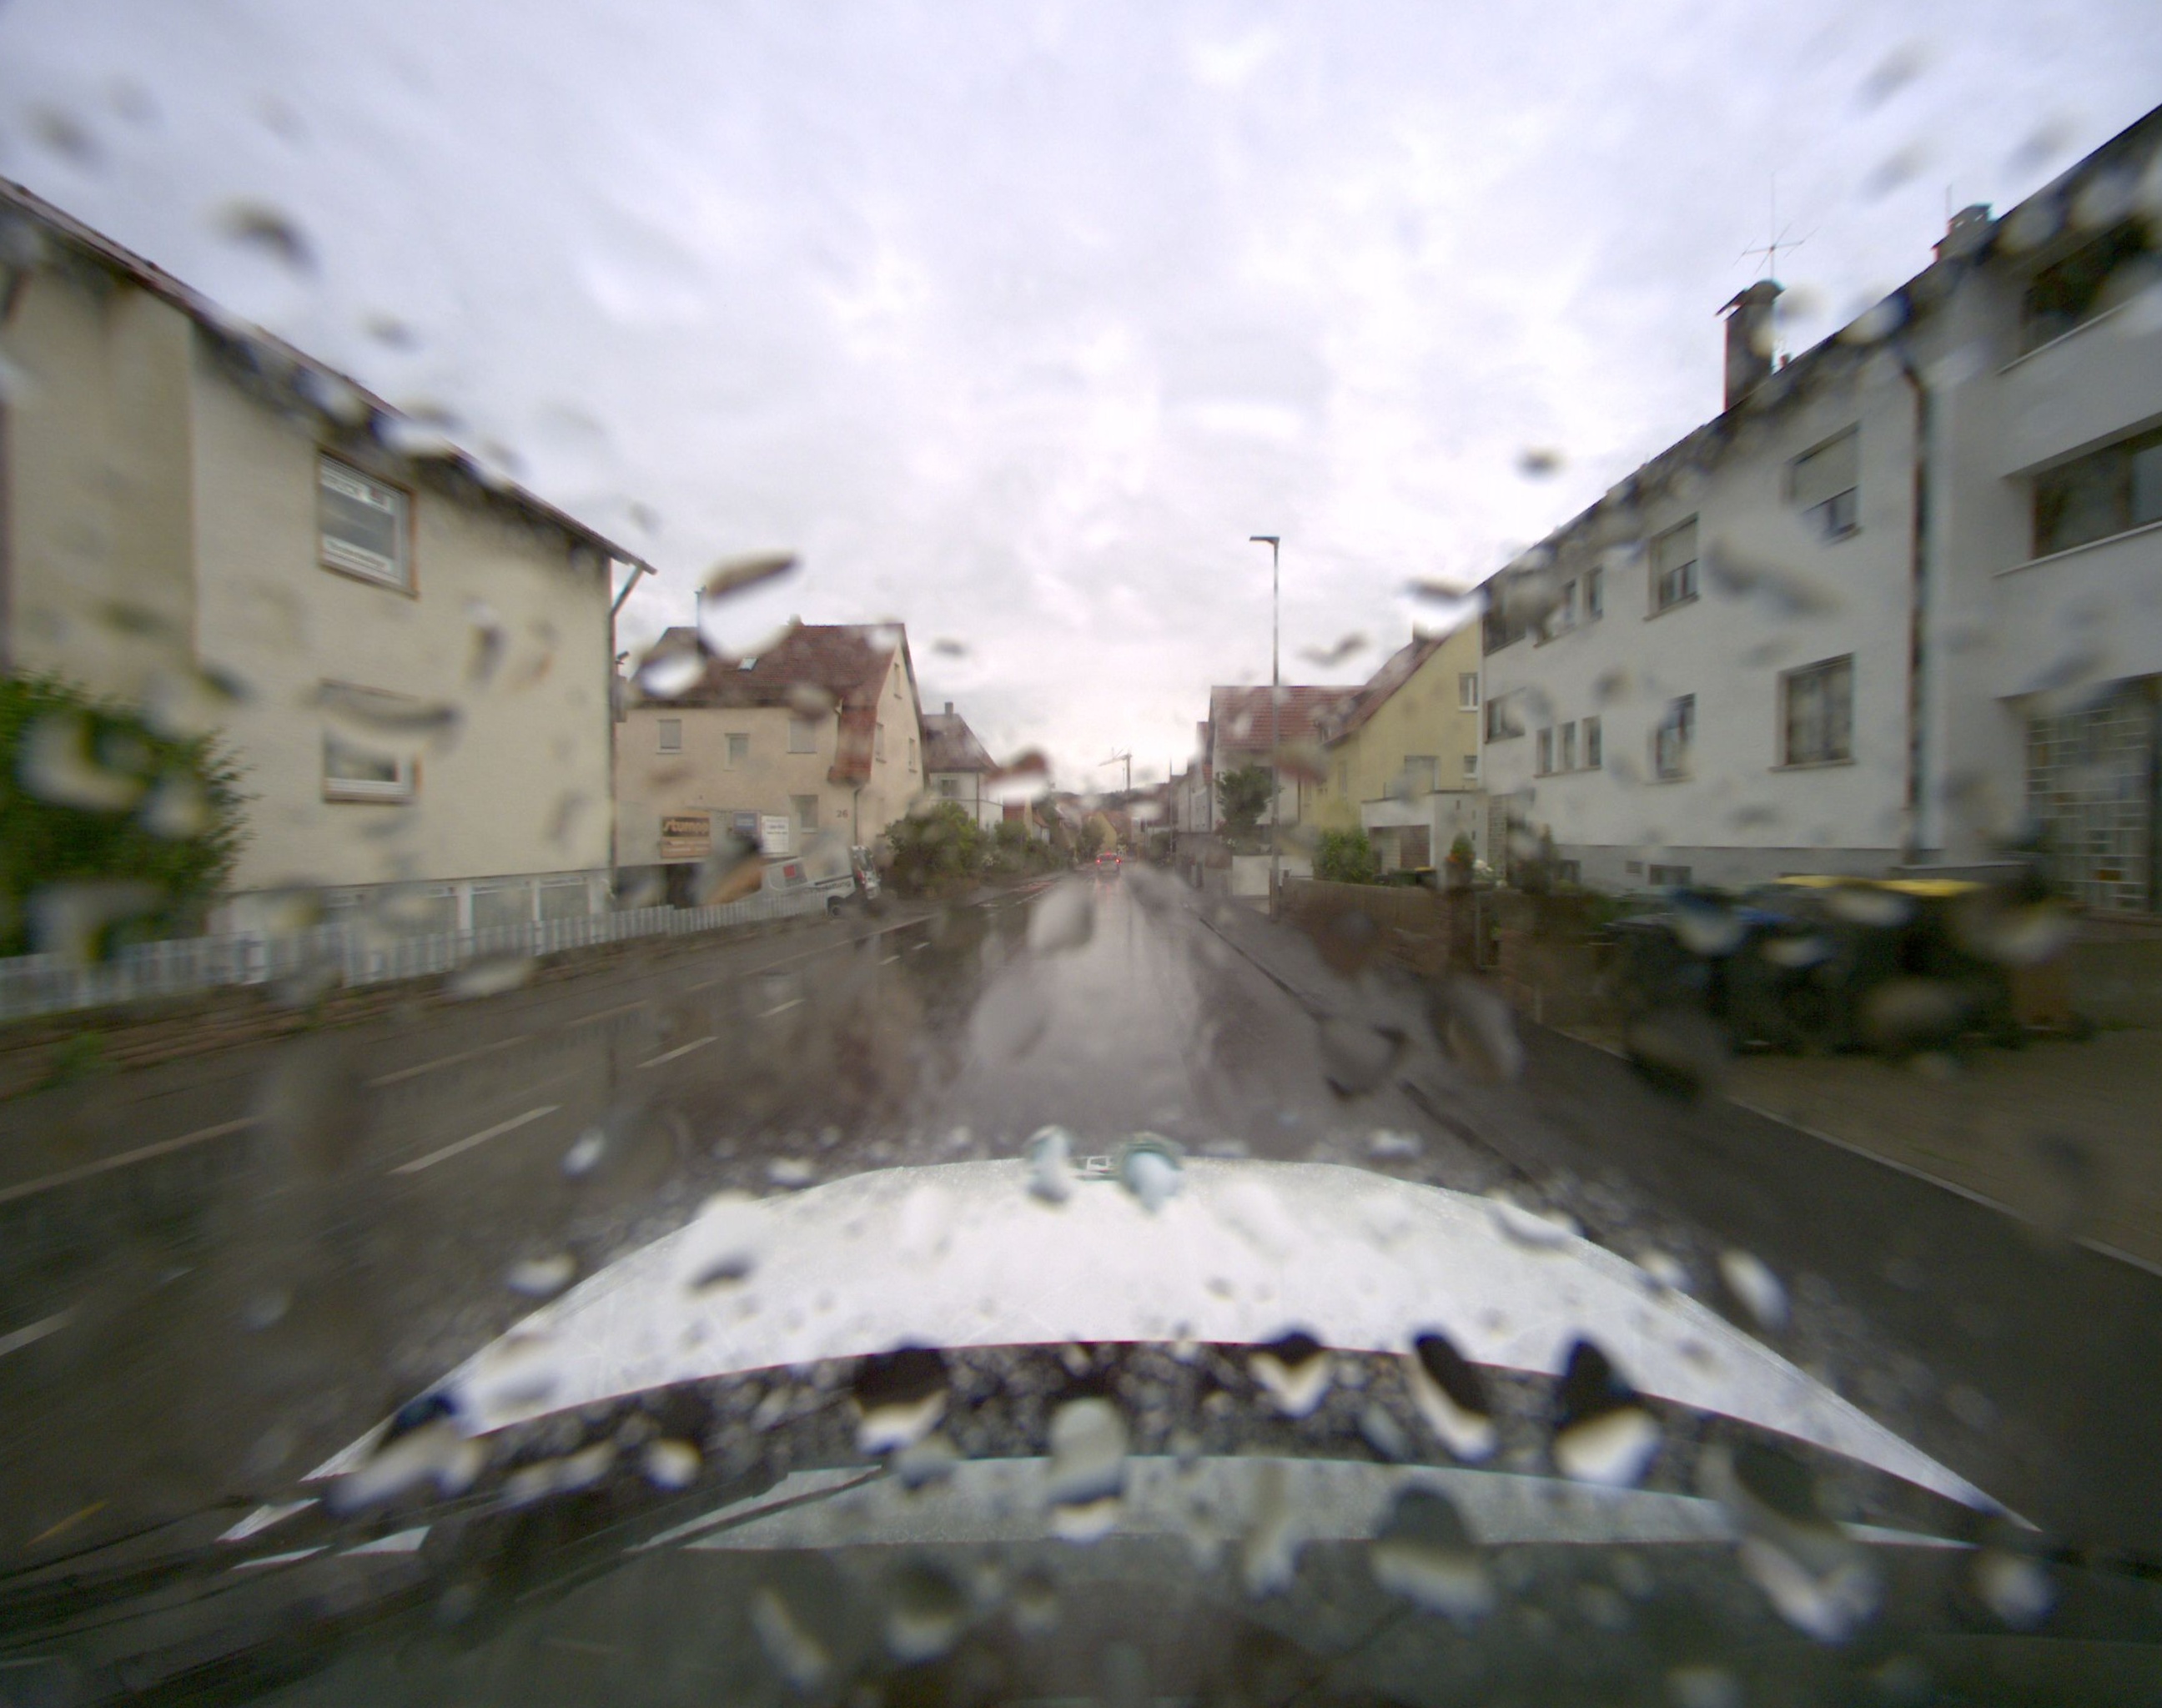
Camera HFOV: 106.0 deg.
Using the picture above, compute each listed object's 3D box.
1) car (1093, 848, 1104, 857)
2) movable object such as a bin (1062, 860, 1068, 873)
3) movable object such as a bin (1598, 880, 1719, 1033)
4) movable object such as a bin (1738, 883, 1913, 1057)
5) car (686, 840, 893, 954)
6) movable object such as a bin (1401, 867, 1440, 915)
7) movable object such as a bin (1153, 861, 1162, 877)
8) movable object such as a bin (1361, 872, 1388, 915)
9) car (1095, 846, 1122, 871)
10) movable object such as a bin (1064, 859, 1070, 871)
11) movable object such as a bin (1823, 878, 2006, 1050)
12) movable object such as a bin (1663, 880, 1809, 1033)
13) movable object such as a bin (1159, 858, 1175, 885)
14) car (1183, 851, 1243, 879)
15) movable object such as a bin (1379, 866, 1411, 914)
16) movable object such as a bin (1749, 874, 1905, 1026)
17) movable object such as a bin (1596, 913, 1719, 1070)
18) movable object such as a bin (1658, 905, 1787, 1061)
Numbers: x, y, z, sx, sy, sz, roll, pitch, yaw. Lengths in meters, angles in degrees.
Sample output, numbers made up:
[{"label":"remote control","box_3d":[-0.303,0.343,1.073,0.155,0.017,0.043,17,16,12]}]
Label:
[{"label":"car","box_3d":[3.582,-0.279,165.305,1.832,1.578,4.299,1,3,7]},{"label":"movable object such as a bin","box_3d":[-1.742,1.365,90.054,0.681,1.322,0.639,1,2,-3]},{"label":"movable object such as a bin","box_3d":[4.293,0.739,6.089,0.423,1.028,0.632,1,2,0]},{"label":"movable object such as a bin","box_3d":[4.898,0.739,5.398,0.542,1.028,0.632,1,2,0]},{"label":"car","box_3d":[-7.876,1.110,22.348,4.538,2.012,2.161,-12,2,1]},{"label":"movable object such as a bin","box_3d":[8.009,0.860,19.234,0.647,1.073,0.629,1,2,2]},{"label":"movable object such as a bin","box_3d":[6.416,1.272,68.317,0.781,1.277,0.715,1,2,6]},{"label":"movable object such as a bin","box_3d":[6.926,0.936,19.219,0.469,0.961,0.443,1,2,2]},{"label":"car","box_3d":[2.372,0.336,69.507,2.108,1.887,4.507,1,3,3]},{"label":"movable object such as a bin","box_3d":[-1.571,1.246,90.812,0.681,1.223,0.639,1,2,-3]},{"label":"movable object such as a bin","box_3d":[5.508,0.702,5.419,0.526,1.028,0.632,1,2,0]},{"label":"movable object such as a bin","box_3d":[4.862,0.738,6.080,0.542,1.028,0.632,1,2,0]},{"label":"movable object such as a bin","box_3d":[4.342,0.869,41.153,0.742,1.279,0.883,-1,2,3]},{"label":"car","box_3d":[7.922,0.641,48.954,3.361,1.562,1.516,1,3,1]},{"label":"movable object such as a bin","box_3d":[7.413,0.851,19.246,0.495,1.073,0.629,1,2,2]},{"label":"movable object such as a bin","box_3d":[5.541,0.689,6.082,0.542,1.028,0.632,1,2,0]},{"label":"movable object such as a bin","box_3d":[3.835,0.895,5.445,0.423,0.940,0.508,1,2,0]},{"label":"movable object such as a bin","box_3d":[4.264,0.841,5.439,0.423,0.940,0.508,1,2,0]}]
